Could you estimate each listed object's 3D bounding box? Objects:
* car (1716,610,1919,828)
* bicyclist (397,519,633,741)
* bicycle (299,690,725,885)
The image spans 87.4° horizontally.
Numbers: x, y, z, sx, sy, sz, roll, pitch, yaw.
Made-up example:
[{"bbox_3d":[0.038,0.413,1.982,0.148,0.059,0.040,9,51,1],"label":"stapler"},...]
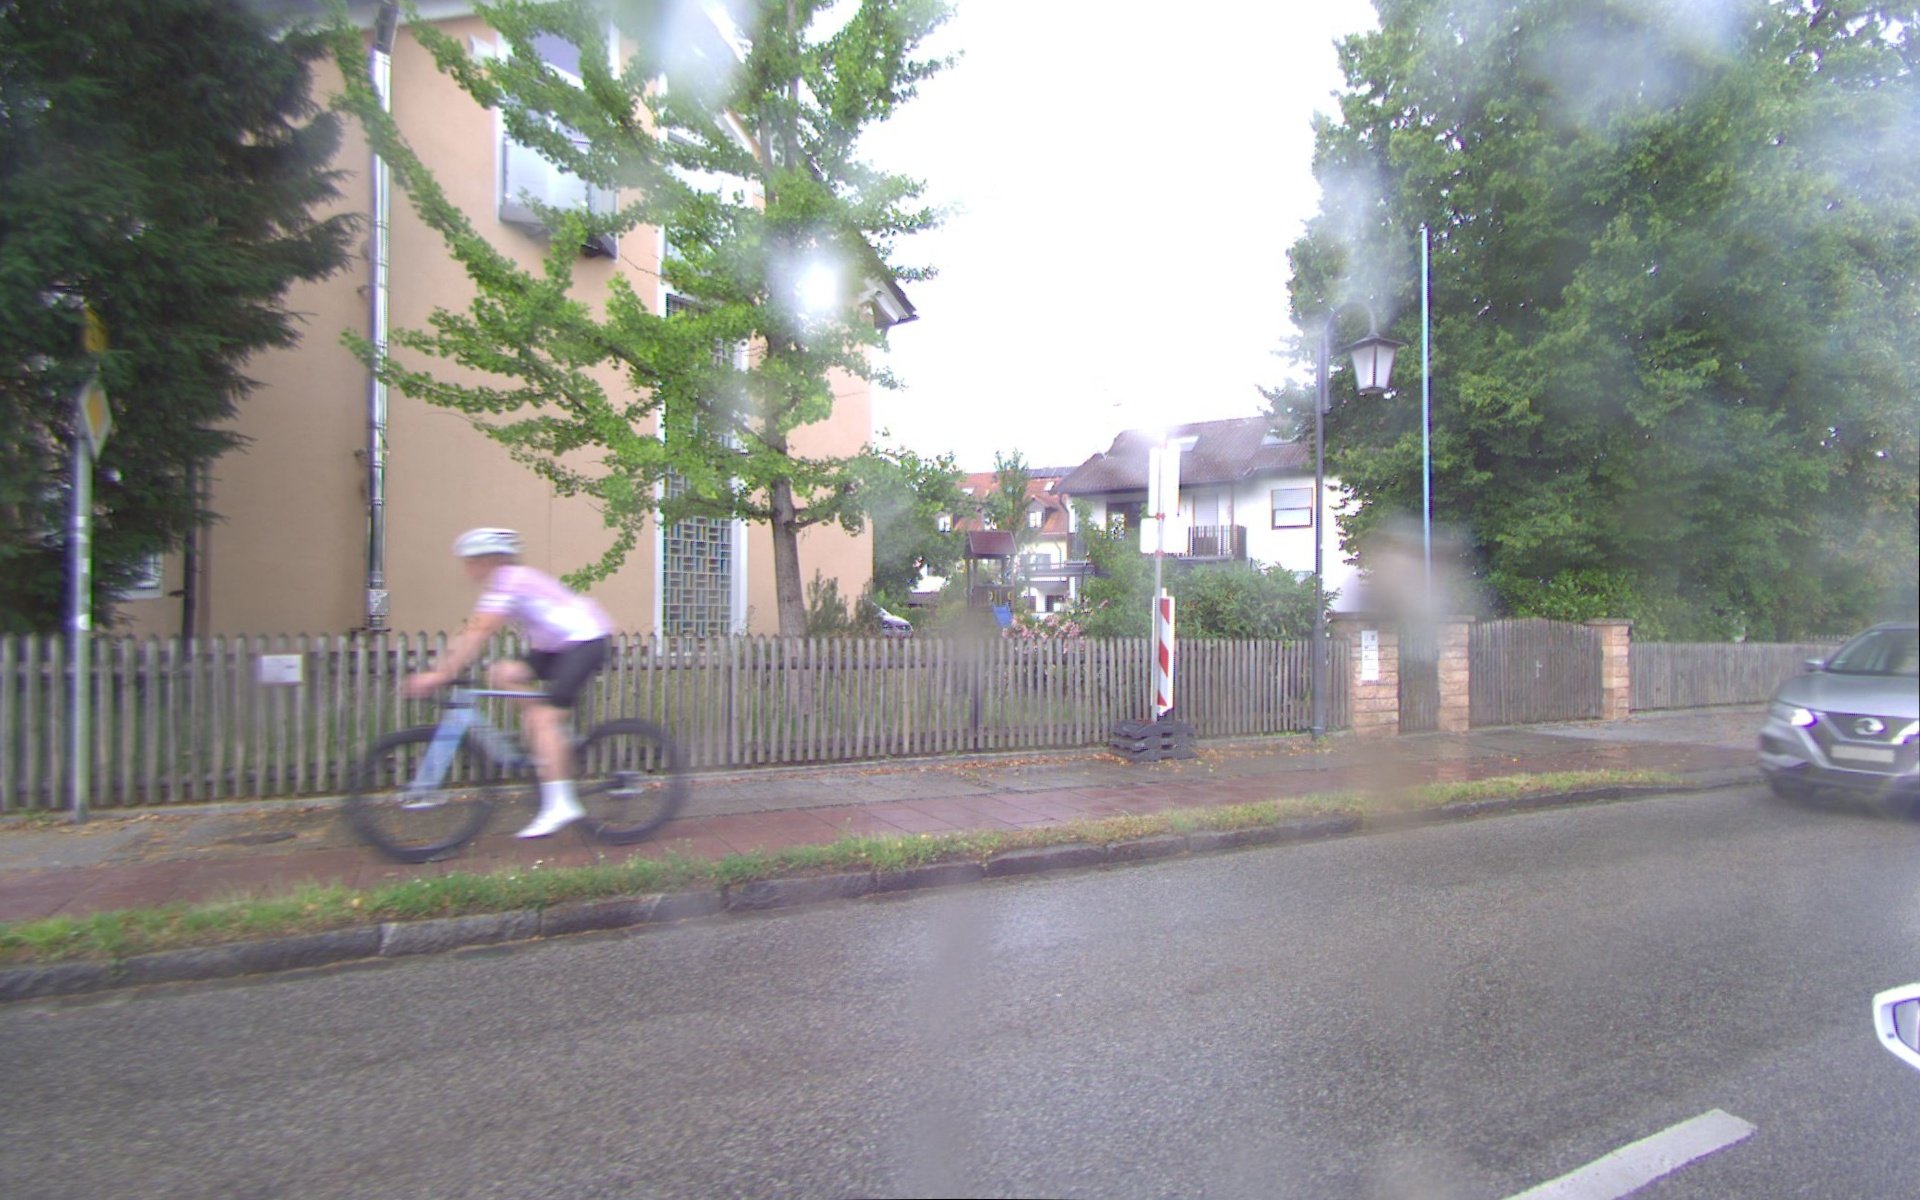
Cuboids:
[{"bbox_3d":[8.556,0.943,8.666,4.129,1.579,1.819,2,-2,-30],"label":"car"},{"bbox_3d":[-2.307,0.152,5.218,1.048,1.035,0.584,1,0,-31],"label":"bicyclist"},{"bbox_3d":[-2.262,0.912,5.253,1.954,0.809,0.454,2,0,-31],"label":"bicycle"}]
